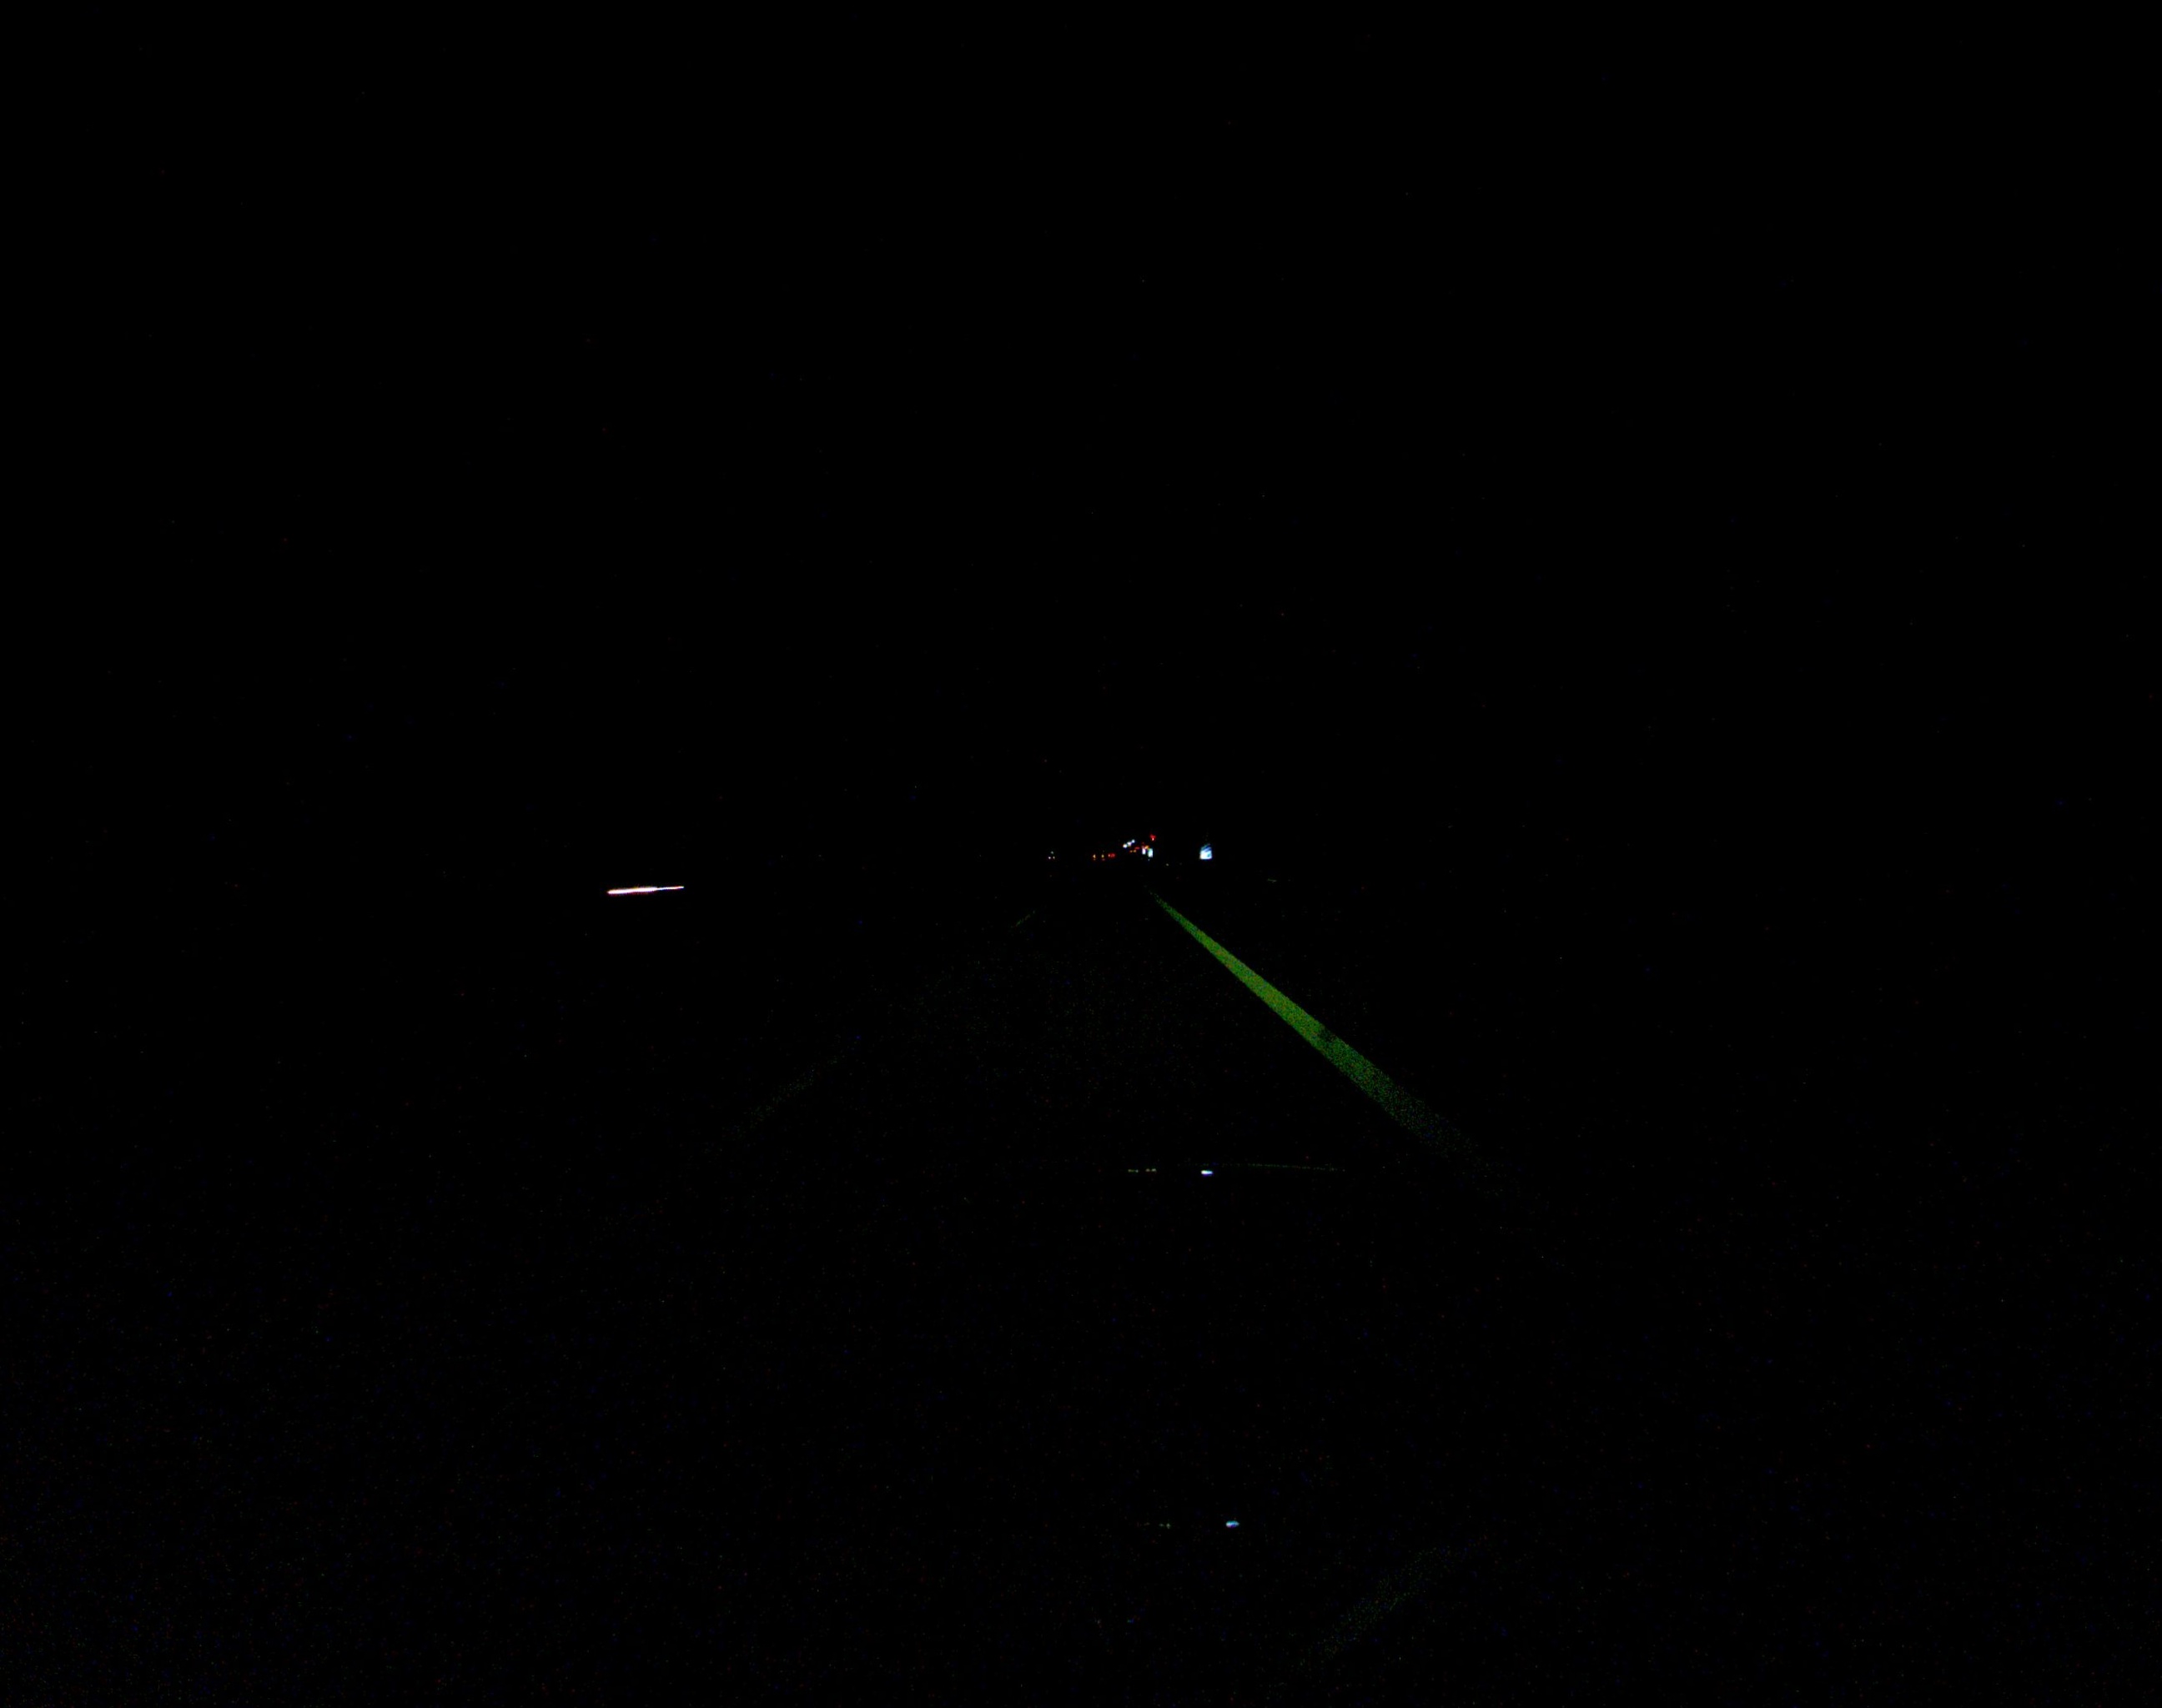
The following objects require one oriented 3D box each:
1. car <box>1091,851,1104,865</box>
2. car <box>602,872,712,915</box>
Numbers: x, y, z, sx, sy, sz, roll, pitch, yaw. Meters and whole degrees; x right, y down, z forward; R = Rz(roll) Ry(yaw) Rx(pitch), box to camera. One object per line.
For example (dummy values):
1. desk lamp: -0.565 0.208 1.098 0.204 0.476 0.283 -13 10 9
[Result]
1. car: 3.568 0.856 174.645 2.776 2.733 6.301 -1 0 2
2. car: -18.292 1.659 35.475 2.002 1.651 5.111 0 0 1
